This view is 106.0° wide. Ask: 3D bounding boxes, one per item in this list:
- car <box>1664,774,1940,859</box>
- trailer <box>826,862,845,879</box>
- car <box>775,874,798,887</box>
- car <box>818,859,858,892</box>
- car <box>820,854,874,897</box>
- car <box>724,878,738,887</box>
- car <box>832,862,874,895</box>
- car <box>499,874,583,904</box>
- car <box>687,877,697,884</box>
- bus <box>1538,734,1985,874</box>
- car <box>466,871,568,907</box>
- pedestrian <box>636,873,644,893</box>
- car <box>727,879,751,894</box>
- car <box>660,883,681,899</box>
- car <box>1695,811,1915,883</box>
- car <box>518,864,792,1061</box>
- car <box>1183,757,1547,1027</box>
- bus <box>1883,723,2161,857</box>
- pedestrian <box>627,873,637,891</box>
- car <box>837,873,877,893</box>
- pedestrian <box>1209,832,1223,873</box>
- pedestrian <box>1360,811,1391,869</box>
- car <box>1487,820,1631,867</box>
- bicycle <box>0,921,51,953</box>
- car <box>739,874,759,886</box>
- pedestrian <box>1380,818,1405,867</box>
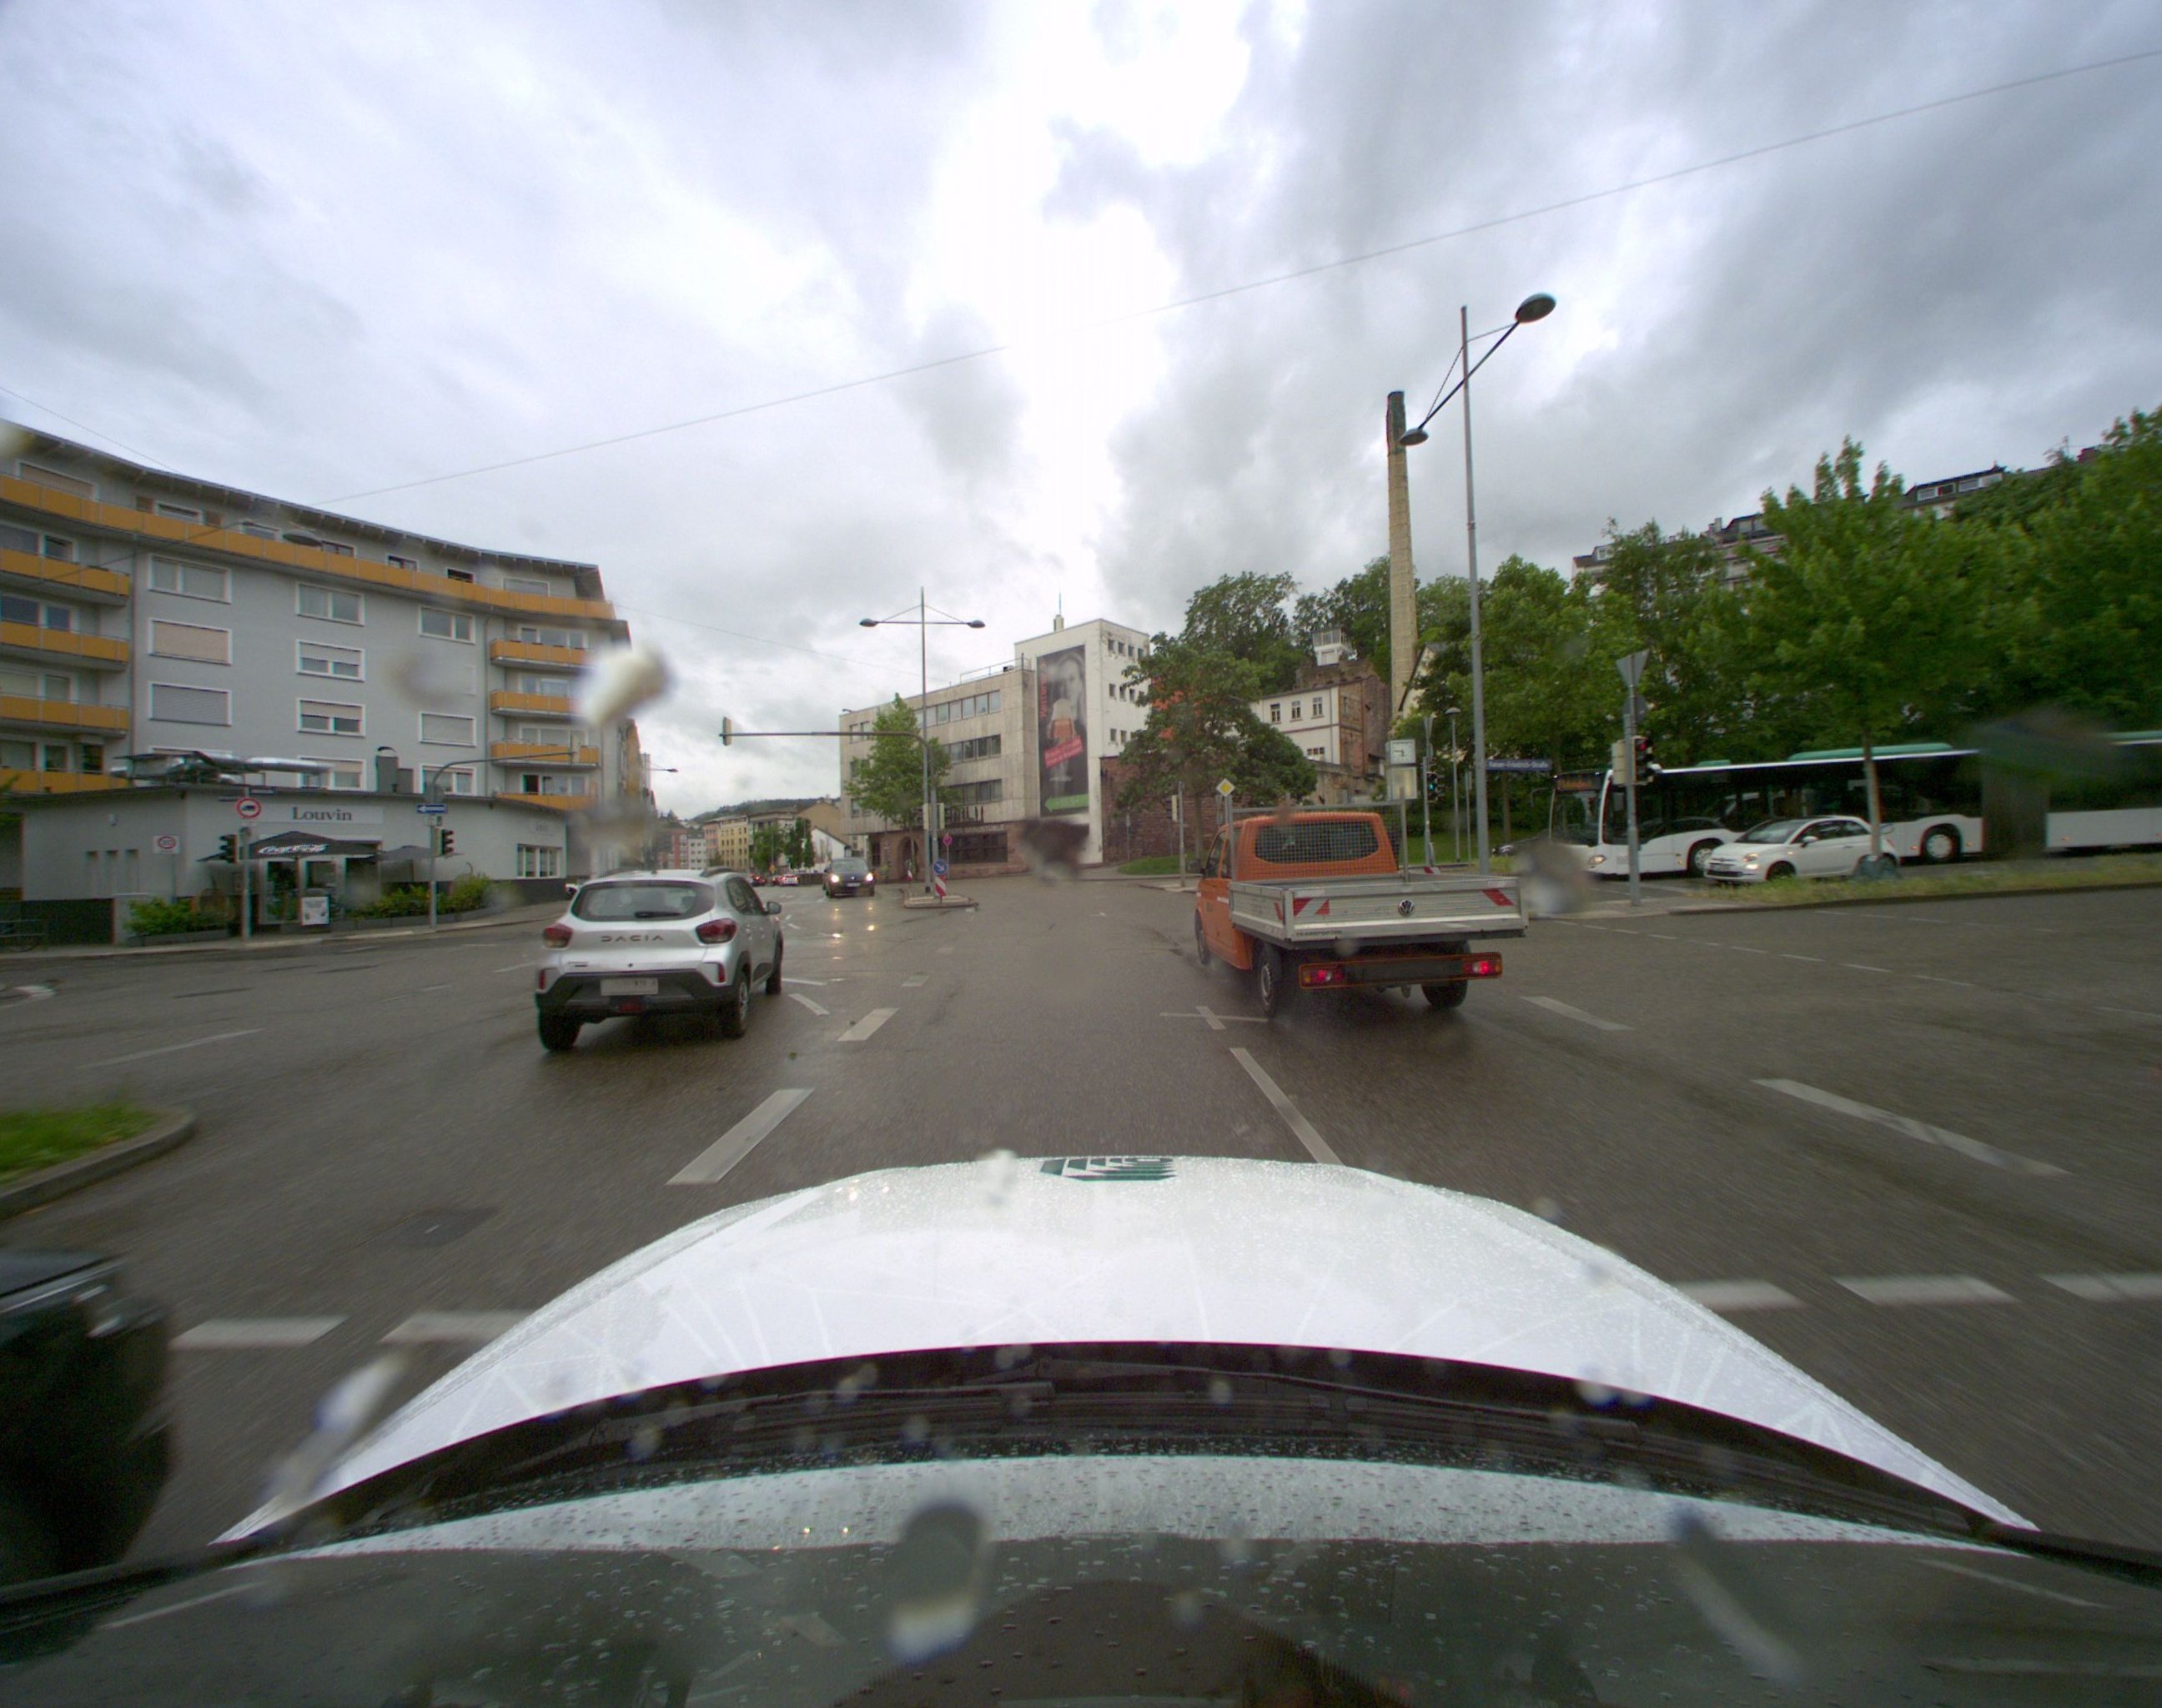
[{"bbox_3d":[23.163,-1.124,26.564,6.269,2.234,2.266,-3,-1,19],"label":"car"},{"bbox_3d":[-41.147,2.780,136.459,2.138,2.716,5.346,-4,0,-25],"label":"trailer"},{"bbox_3d":[-33.869,3.062,93.463,1.676,1.396,3.827,-1,0,-32],"label":"car"},{"bbox_3d":[-13.291,1.128,44.410,1.762,1.614,4.182,-2,0,-21],"label":"car"},{"bbox_3d":[-9.800,0.869,33.943,1.762,1.614,4.182,-2,0,-21],"label":"car"},{"bbox_3d":[-59.503,4.808,138.373,1.963,1.396,3.833,-1,0,-27],"label":"car"},{"bbox_3d":[-11.013,1.147,39.162,1.561,1.397,3.702,-4,1,-20],"label":"car"},{"bbox_3d":[-29.582,1.892,44.740,3.645,1.338,1.481,-4,0,-30],"label":"car"},{"bbox_3d":[-87.021,6.025,182.124,1.730,1.423,4.128,-4,0,-27],"label":"car"},{"bbox_3d":[17.686,-1.273,21.620,9.594,3.216,2.705,-2,1,0],"label":"bus"},{"bbox_3d":[-27.757,1.737,40.225,3.834,1.421,1.781,-4,-1,-27],"label":"car"},{"bbox_3d":[-41.192,2.727,76.096,0.578,1.789,0.819,4,-4,-27],"label":"pedestrian"},{"bbox_3d":[-34.092,3.254,81.236,1.743,1.440,4.372,-2,-1,-29],"label":"car"},{"bbox_3d":[-39.824,3.598,79.031,1.737,1.366,4.075,-1,-2,-26],"label":"car"},{"bbox_3d":[16.153,-0.169,18.290,3.546,1.451,1.590,-2,1,0],"label":"car"},{"bbox_3d":[-3.949,0.855,8.175,1.538,1.461,3.613,-1,0,-13],"label":"car"},{"bbox_3d":[2.555,0.347,9.115,2.095,2.089,5.539,0,-1,0],"label":"car"},{"bbox_3d":[26.744,-1.663,21.418,8.499,3.180,2.690,-2,1,2],"label":"bus"},{"bbox_3d":[-41.816,2.607,75.847,0.633,1.676,0.900,4,-4,-28],"label":"pedestrian"},{"bbox_3d":[-17.380,2.214,63.151,1.801,1.403,4.587,-2,0,-31],"label":"car"},{"bbox_3d":[5.994,-0.059,36.224,0.593,1.781,0.659,0,-2,12],"label":"pedestrian"},{"bbox_3d":[10.444,-0.507,28.901,0.777,2.013,0.592,-3,1,38],"label":"pedestrian"},{"bbox_3d":[16.708,-0.348,28.685,4.049,1.374,1.804,-3,-1,19],"label":"car"},{"bbox_3d":[-30.915,2.400,22.984,0.613,0.809,2.218,-2,0,12],"label":"bicycle"},{"bbox_3d":[-42.880,3.350,105.164,1.676,1.396,3.828,-1,0,-32],"label":"car"},{"bbox_3d":[11.108,-0.403,29.033,0.557,1.705,0.526,-3,1,-14],"label":"pedestrian"}]
